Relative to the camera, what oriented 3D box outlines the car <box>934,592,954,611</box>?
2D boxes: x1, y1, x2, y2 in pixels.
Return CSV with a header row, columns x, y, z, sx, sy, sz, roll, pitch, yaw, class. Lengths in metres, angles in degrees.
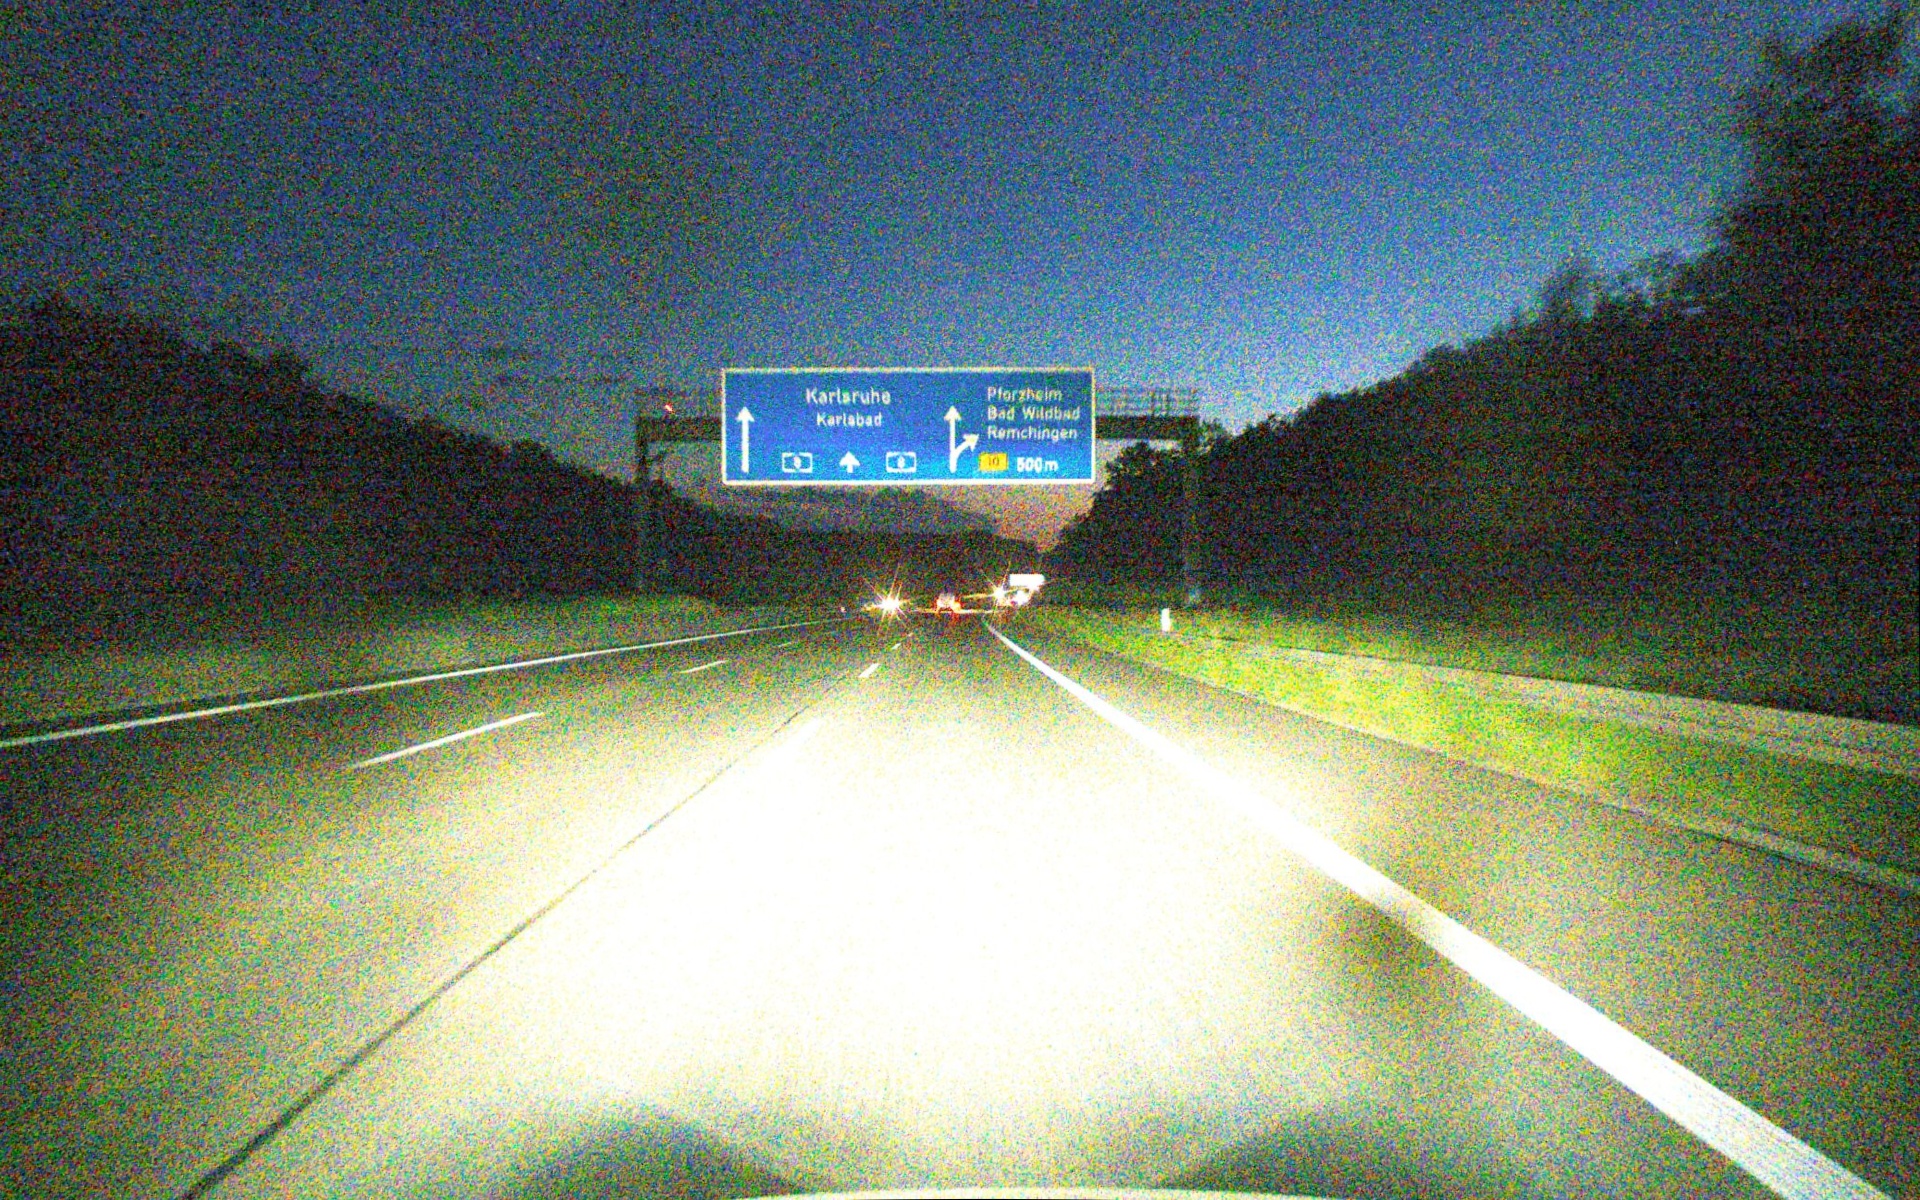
x,y,z,sx,sy,sz,roll,pitch,yaw,class
-2.089,0.220,217.497,2.459,2.354,4.971,0,0,2,car
